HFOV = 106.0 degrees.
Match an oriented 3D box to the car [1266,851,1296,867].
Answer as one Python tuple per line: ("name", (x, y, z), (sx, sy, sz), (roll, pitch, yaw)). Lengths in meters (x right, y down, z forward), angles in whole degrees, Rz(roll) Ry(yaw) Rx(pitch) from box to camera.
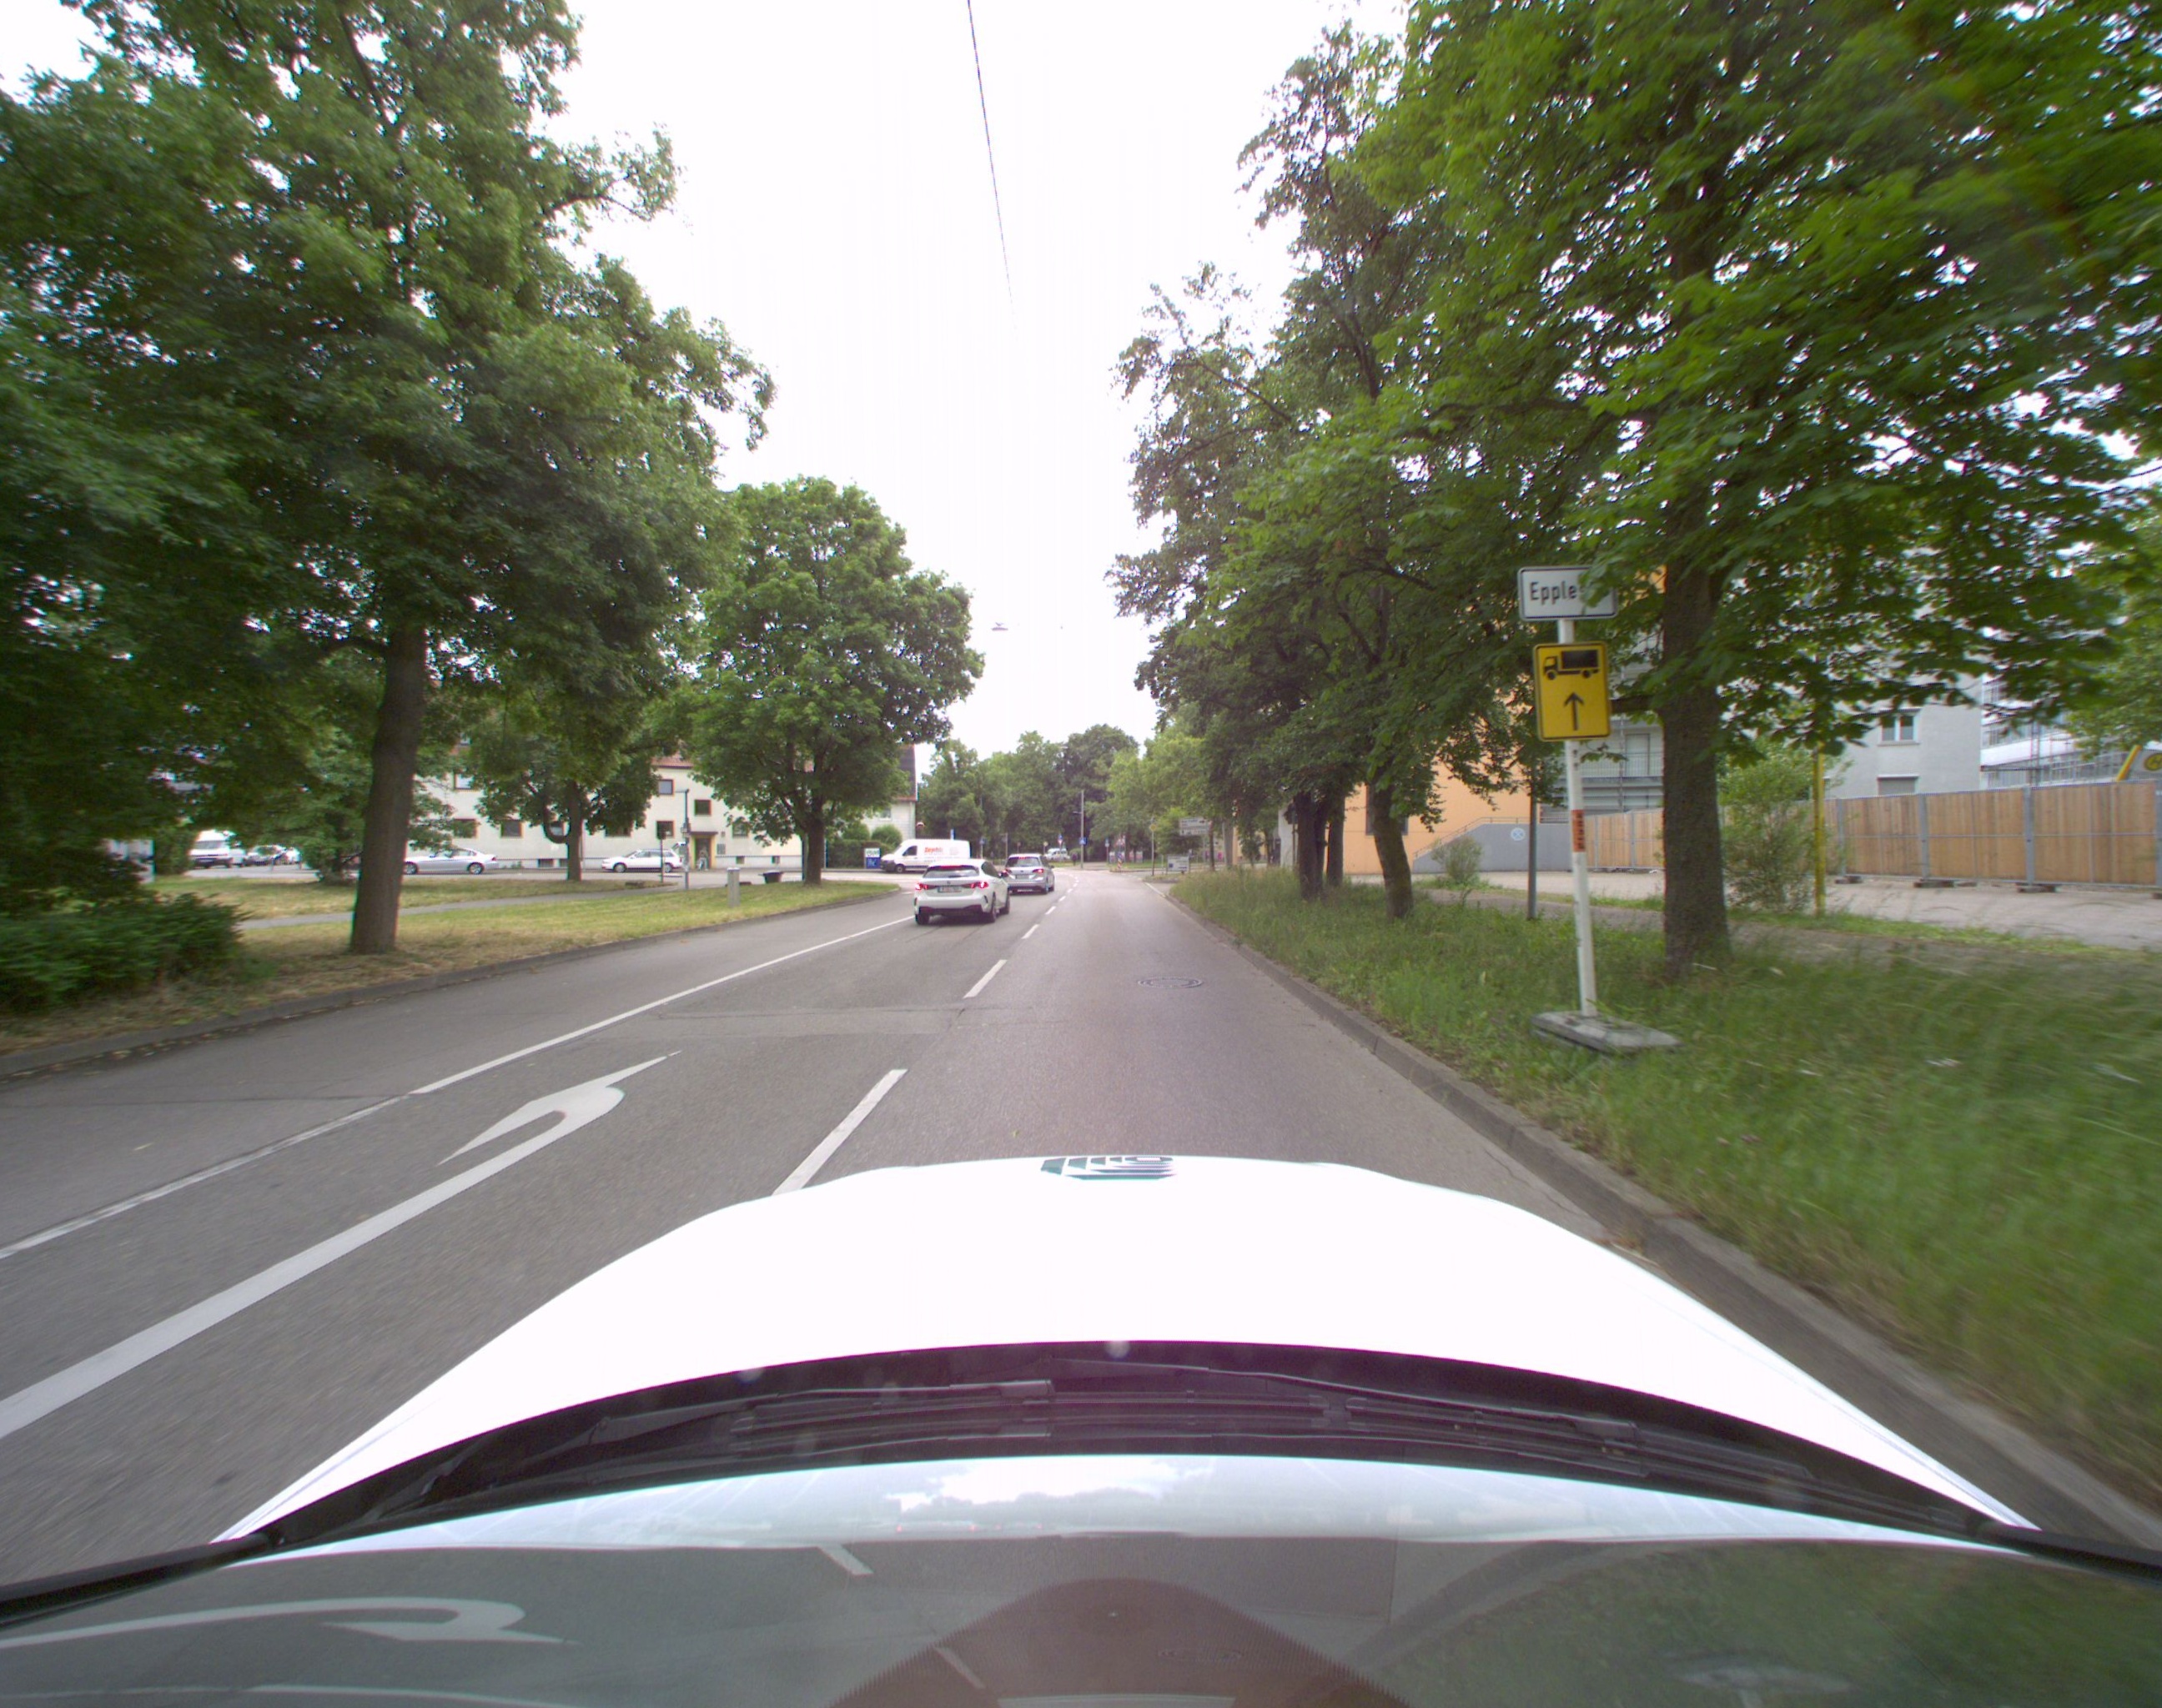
("car", (20.727, 0.493, 84.268), (1.857, 1.568, 4.043), (3, 1, 29))

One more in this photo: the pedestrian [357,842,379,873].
("pedestrian", (-38.932, 0.204, 44.475), (0.785, 1.633, 0.675), (2, 1, -33))

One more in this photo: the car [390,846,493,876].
("car", (-34.271, 0.385, 43.781), (4.252, 1.534, 1.665), (1, -2, -36))

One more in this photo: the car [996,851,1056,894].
("car", (-2.122, 0.684, 32.531), (1.915, 1.574, 4.003), (0, 0, 3))

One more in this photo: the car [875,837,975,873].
("car", (-11.516, 0.067, 60.529), (7.011, 2.521, 2.062), (1, 2, -36))

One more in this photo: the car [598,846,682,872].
("car", (-27.334, 0.337, 50.577), (4.337, 1.440, 1.702), (2, 1, -38))

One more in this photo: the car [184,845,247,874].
("car", (-55.933, 0.308, 52.709), (1.837, 1.659, 3.960), (2, 1, -33))

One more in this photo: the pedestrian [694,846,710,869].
("pedestrian", (-25.301, 0.231, 54.332), (0.753, 1.534, 0.708), (2, 1, -38))

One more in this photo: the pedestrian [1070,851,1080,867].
("pedestrian", (-0.707, 0.580, 95.236), (0.921, 1.871, 1.018), (-4, 3, -2))

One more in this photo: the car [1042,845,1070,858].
("car", (-4.669, -0.423, 151.940), (2.111, 2.297, 5.419), (3, 1, 40))

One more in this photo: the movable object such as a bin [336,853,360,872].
("movable object such as a bin", (-39.639, 0.480, 44.024), (0.882, 0.997, 0.400), (2, 1, -33))

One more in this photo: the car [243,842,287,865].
("car", (-62.595, -0.060, 62.520), (1.662, 1.581, 3.731), (2, 1, -34))

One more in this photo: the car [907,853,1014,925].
("car", (-2.815, 0.776, 19.911), (1.789, 1.517, 4.209), (-2, 0, 2))
